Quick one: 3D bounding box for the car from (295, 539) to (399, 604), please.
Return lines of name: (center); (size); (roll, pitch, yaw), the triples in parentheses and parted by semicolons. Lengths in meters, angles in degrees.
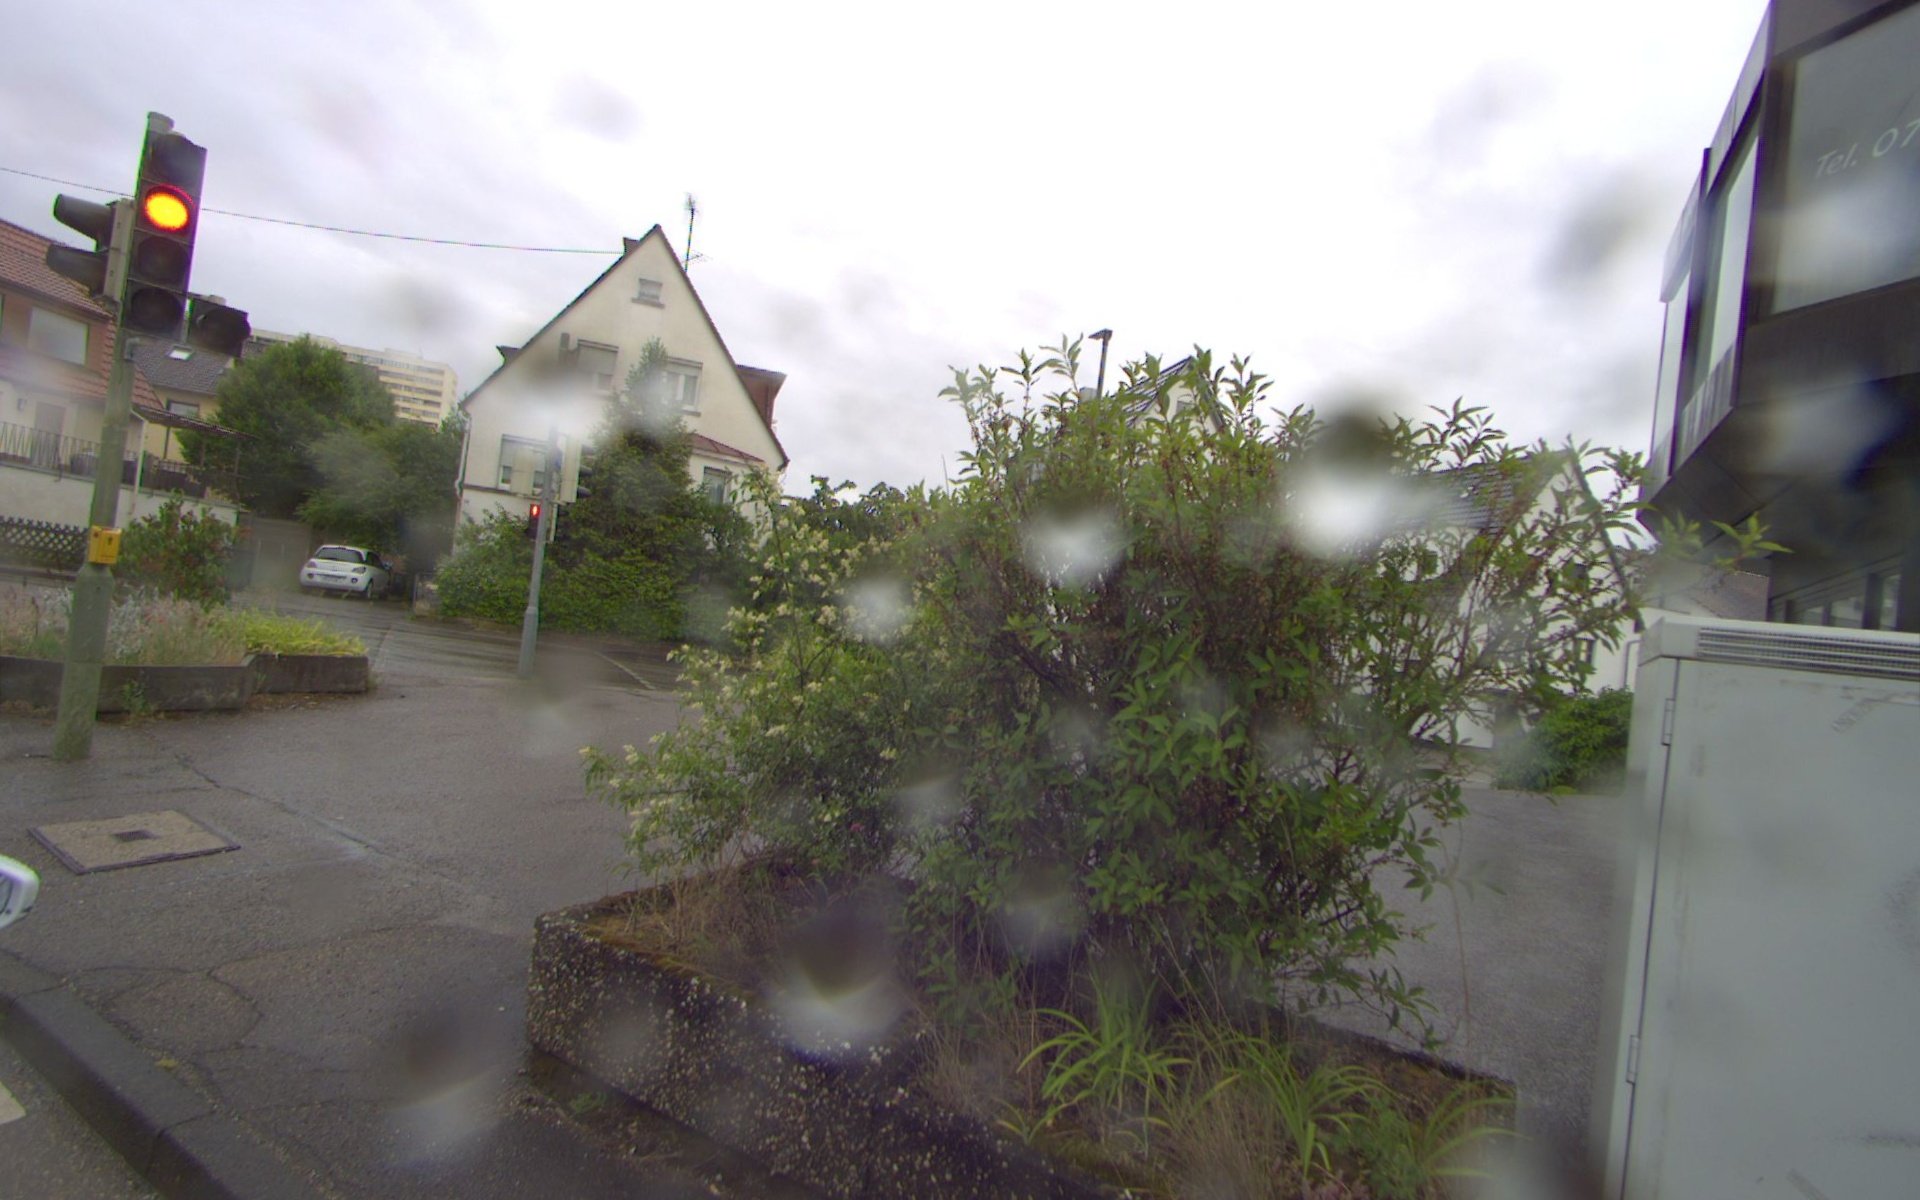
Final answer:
car: (-17.831, -0.817, 29.443); (1.722, 1.532, 3.982); (9, -2, -21)
